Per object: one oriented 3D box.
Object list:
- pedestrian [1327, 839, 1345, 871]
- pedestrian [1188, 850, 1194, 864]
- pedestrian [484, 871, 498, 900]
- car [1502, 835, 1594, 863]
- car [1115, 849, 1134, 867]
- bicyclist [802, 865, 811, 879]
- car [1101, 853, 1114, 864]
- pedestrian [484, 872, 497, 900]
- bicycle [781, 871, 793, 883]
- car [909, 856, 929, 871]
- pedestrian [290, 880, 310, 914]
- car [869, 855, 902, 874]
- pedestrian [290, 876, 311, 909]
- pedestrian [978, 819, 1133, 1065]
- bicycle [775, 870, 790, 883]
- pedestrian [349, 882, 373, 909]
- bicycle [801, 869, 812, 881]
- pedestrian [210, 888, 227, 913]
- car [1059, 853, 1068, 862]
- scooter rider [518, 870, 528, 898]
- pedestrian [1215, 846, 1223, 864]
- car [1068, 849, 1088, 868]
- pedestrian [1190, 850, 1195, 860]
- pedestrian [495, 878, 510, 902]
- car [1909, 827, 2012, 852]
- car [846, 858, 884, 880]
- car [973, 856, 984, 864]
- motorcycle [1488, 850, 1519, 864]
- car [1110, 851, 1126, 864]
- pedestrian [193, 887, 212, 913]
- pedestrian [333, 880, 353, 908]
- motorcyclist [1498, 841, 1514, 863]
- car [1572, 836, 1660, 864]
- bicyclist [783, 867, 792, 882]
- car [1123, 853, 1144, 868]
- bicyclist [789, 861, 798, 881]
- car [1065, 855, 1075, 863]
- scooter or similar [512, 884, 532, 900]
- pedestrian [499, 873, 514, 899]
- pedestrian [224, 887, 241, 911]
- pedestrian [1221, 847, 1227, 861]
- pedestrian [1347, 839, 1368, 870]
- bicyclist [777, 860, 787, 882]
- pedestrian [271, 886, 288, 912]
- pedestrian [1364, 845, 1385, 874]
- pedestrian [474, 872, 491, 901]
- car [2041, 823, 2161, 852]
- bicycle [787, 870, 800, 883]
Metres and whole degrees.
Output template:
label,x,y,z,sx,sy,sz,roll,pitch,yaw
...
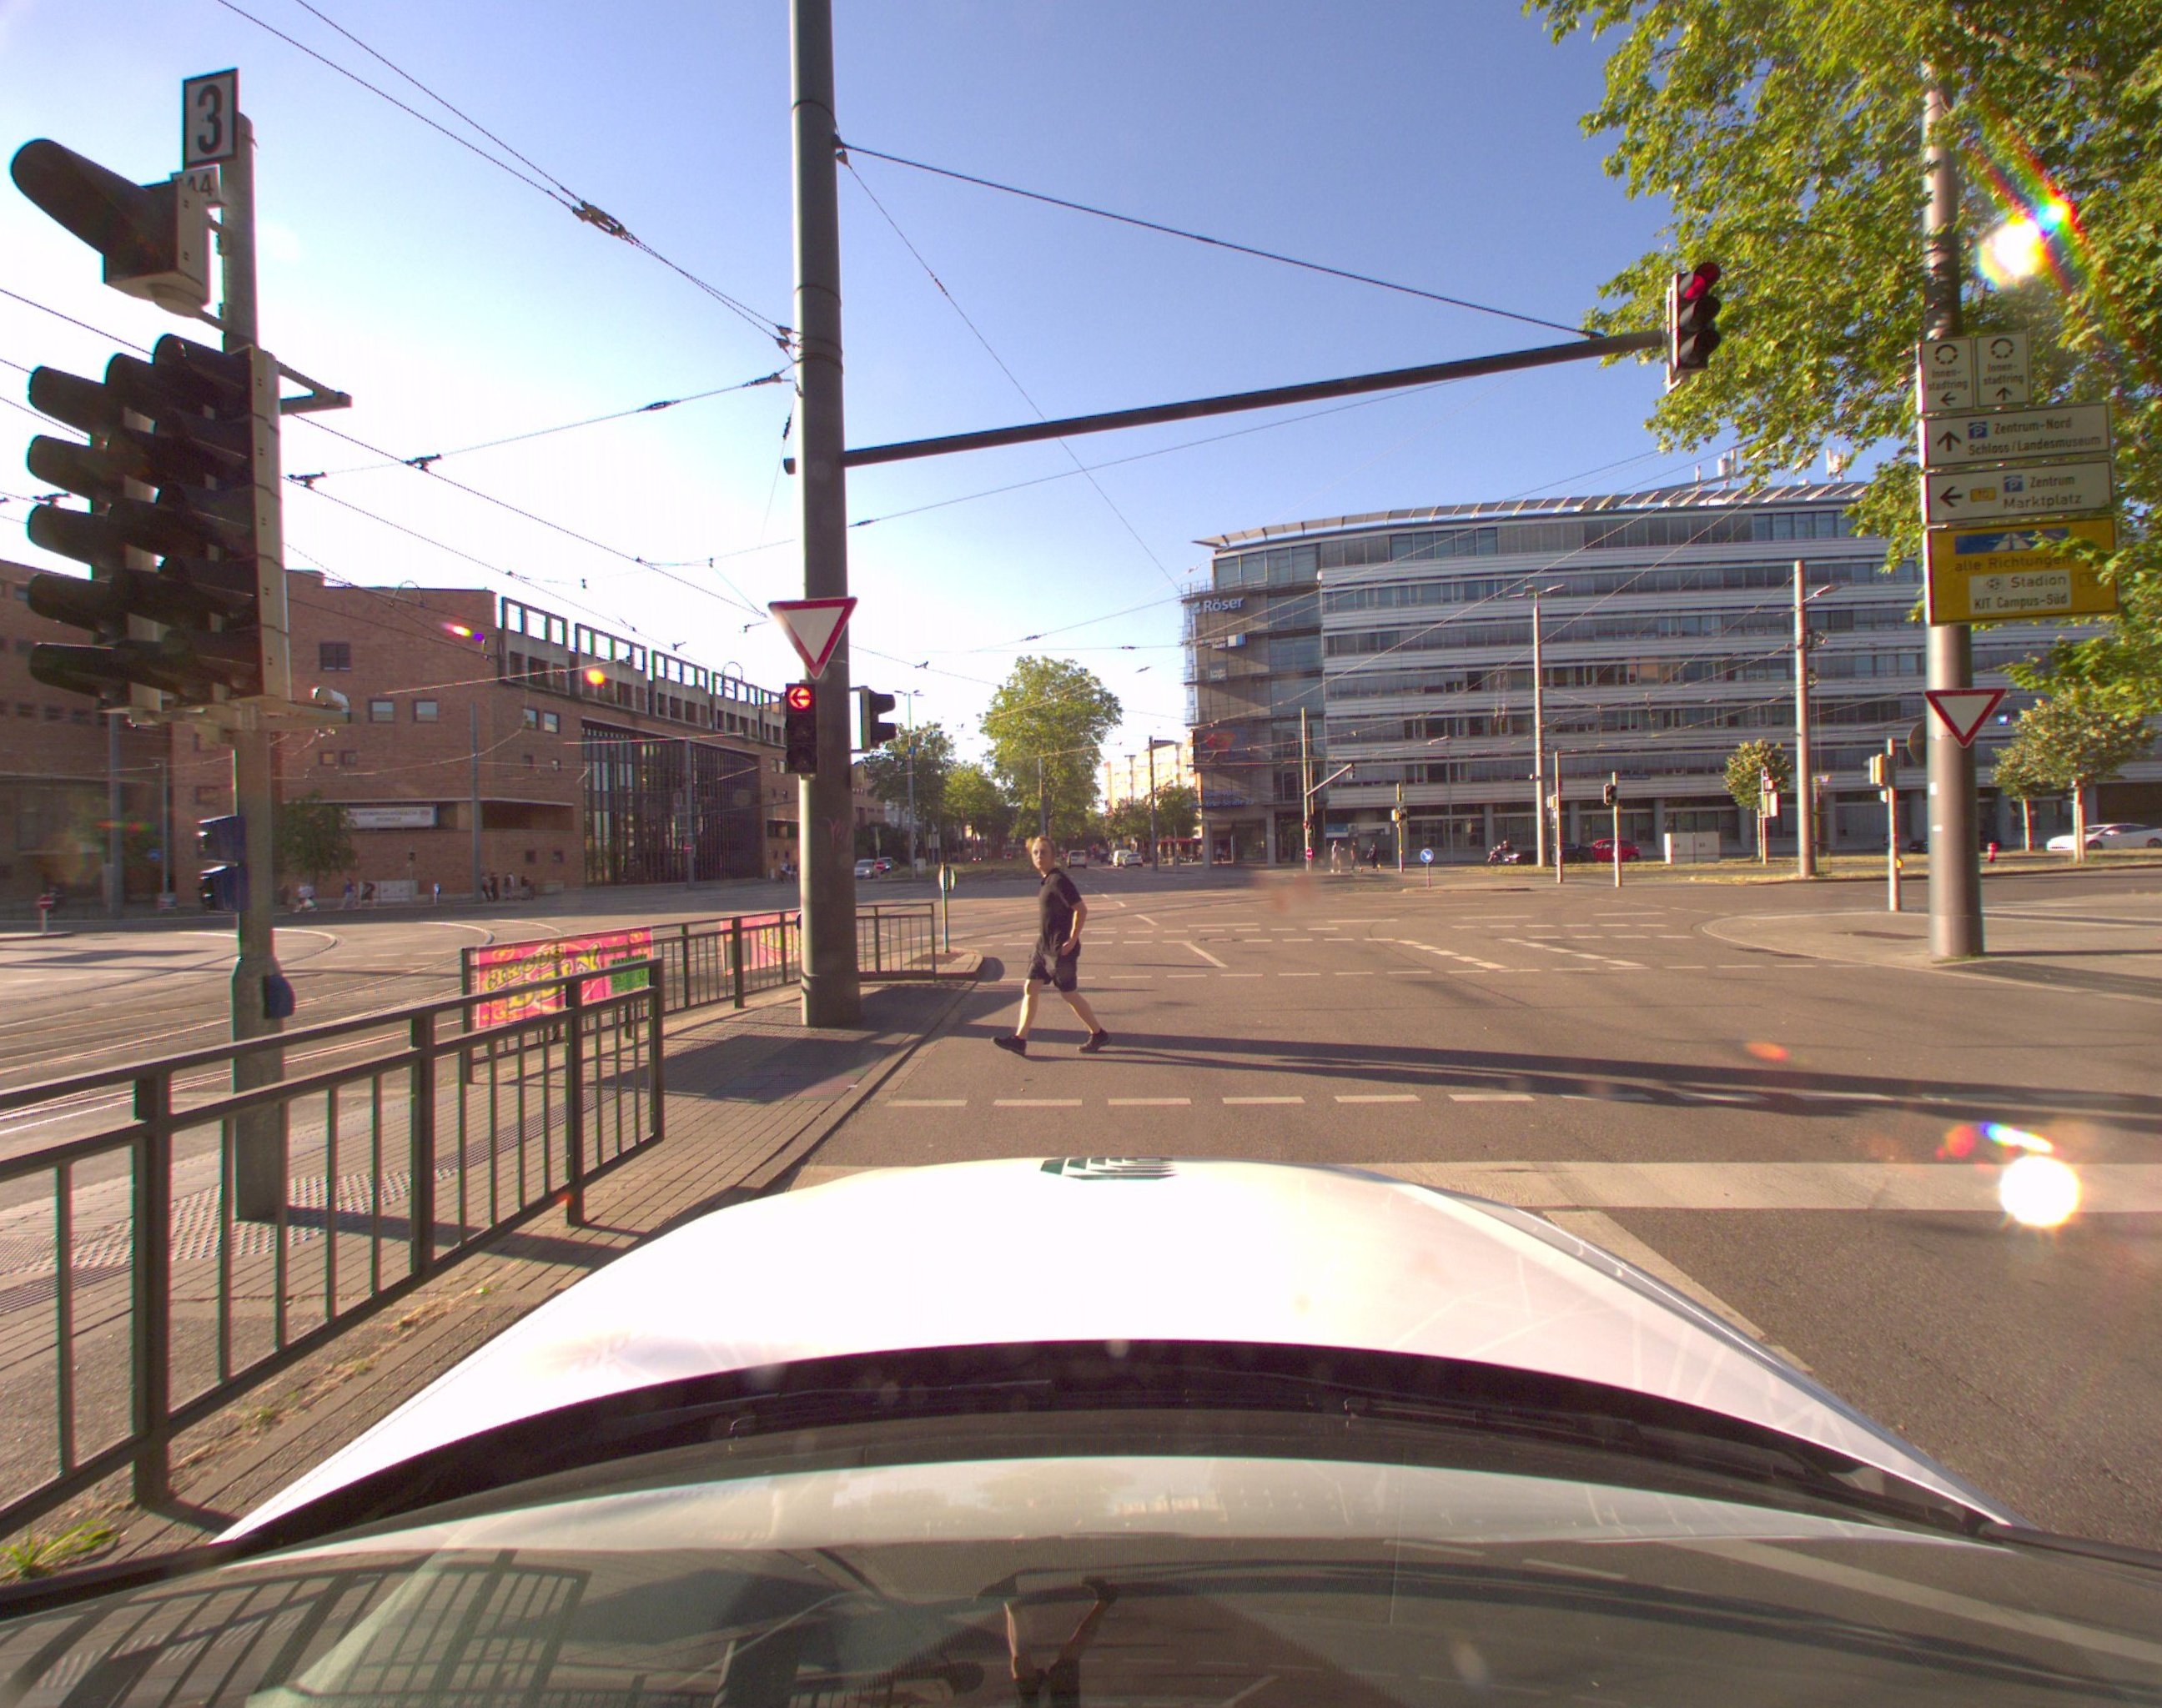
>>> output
label,x,y,z,sx,sy,sz,roll,pitch,yaw
pedestrian,14.343,0.044,45.900,0.857,1.788,0.875,-2,0,14
pedestrian,14.171,0.397,104.814,0.741,1.714,0.612,-2,0,1
pedestrian,-35.340,1.877,48.771,0.585,1.683,0.554,-2,0,44
car,26.422,-0.262,46.225,4.136,1.398,1.789,-2,0,7
car,4.739,0.452,89.637,1.986,1.860,4.002,-2,0,2
bicyclist,-24.342,1.587,72.186,0.503,1.179,0.581,-2,0,1
car,4.087,0.658,126.775,1.986,1.618,4.002,-2,0,2
pedestrian,-36.458,1.980,50.297,0.552,1.683,0.567,-2,0,-42
bicycle,-25.039,1.922,69.381,0.466,0.963,1.320,-2,0,2
car,-23.571,1.341,118.666,1.987,2.013,3.999,-2,0,-1
pedestrian,-39.193,2.142,40.887,0.593,1.648,0.552,-2,0,31
car,-18.120,0.966,75.525,1.987,1.640,4.001,-2,0,1
pedestrian,-39.862,1.955,41.575,0.590,1.614,0.593,-2,0,30
pedestrian,-0.223,0.627,6.279,1.089,1.748,0.740,-1,0,-10
bicycle,-24.342,1.846,66.395,0.540,0.963,1.587,-2,0,2
pedestrian,-37.759,2.160,42.719,0.599,1.339,0.683,-2,0,9
bicycle,-24.326,1.856,72.222,0.449,0.963,1.348,-2,0,2
pedestrian,-50.680,2.744,47.873,0.547,1.409,0.577,-2,0,35
car,-4.025,0.773,187.500,1.986,2.013,4.001,-2,0,1
scooter rider,-33.724,1.811,49.193,0.441,1.647,0.226,-2,0,-44
pedestrian,11.959,0.080,70.695,0.608,1.507,0.580,-2,0,10
car,-0.264,0.462,85.623,1.954,1.848,5.330,-2,0,1
pedestrian,14.560,0.148,106.356,0.575,1.289,0.910,-2,0,2
pedestrian,-35.530,2.179,50.010,0.601,1.421,0.636,-2,0,-27
car,54.643,-0.893,50.662,4.136,1.398,1.789,-2,0,7
car,-18.009,1.222,67.950,1.987,1.640,4.001,-2,0,1
car,-24.700,1.448,197.147,1.986,1.816,4.002,-2,0,2
motorcycle,25.438,0.168,49.021,1.560,0.810,0.468,-2,0,6
car,4.816,0.479,105.293,1.986,1.618,4.002,-2,0,2
pedestrian,-51.102,2.661,47.370,0.583,1.463,0.537,-2,0,25
pedestrian,-39.303,2.123,43.393,0.562,1.453,0.618,-2,0,30
motorcyclist,25.590,-0.141,49.020,0.708,1.275,0.460,-2,0,5
car,31.860,-0.220,48.570,3.966,1.393,1.789,-4,0,7
bicyclist,-25.052,1.741,69.416,0.503,1.304,0.581,-2,0,1
car,5.286,0.623,82.820,1.986,1.376,4.002,-2,0,2
bicyclist,-23.459,1.409,66.413,0.456,1.603,0.581,-2,0,1
car,-1.964,0.945,147.150,1.792,1.442,3.999,0,-1,0
scooter or similar,-33.731,2.283,49.147,0.956,0.899,0.173,-2,0,-45
pedestrian,-35.917,1.993,50.920,0.622,1.625,0.605,-2,0,-43
pedestrian,-50.440,2.674,48.417,0.549,1.427,0.563,-2,0,32
pedestrian,15.806,-0.012,89.768,0.608,1.507,0.580,-2,0,9
pedestrian,15.798,0.024,46.611,0.907,1.685,1.038,-2,0,9
bicyclist,-24.341,1.395,66.317,0.534,1.731,0.581,-2,0,1
pedestrian,-47.670,2.668,48.434,0.508,1.463,0.466,-2,0,-6
pedestrian,16.367,0.306,45.431,0.943,1.564,0.899,-2,0,9
pedestrian,-36.287,1.959,49.351,0.622,1.683,0.646,-2,0,-21
car,54.401,-0.856,43.158,4.580,1.336,1.789,-2,0,7
bicycle,-23.429,1.811,66.407,0.471,0.963,1.576,-2,0,2
